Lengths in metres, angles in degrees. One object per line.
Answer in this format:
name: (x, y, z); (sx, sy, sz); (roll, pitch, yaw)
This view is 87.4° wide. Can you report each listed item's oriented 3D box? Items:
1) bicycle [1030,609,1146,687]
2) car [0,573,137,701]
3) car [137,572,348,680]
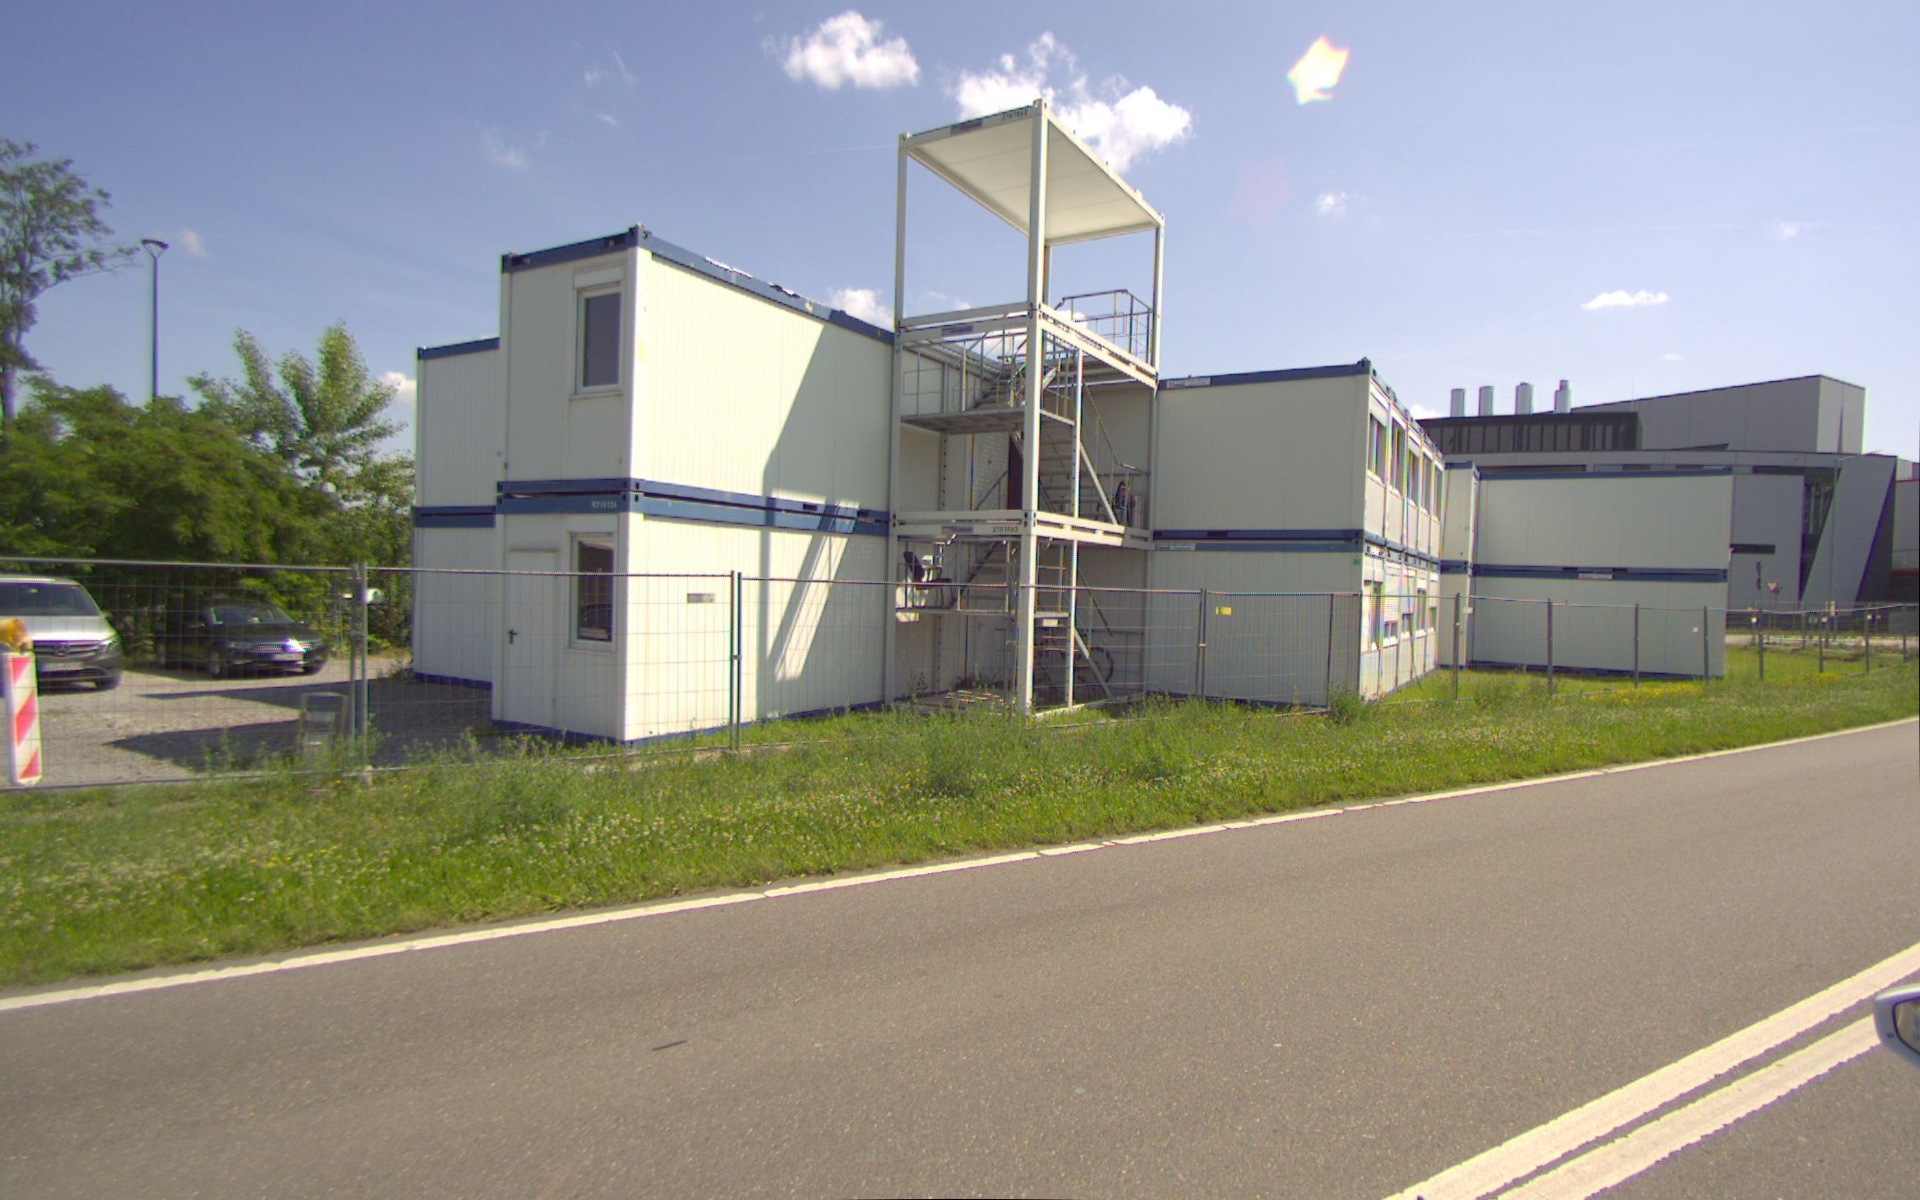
bicycle: (2.318, 0.847, 18.324); (2.010, 1.318, 0.607); (1, 0, 31)
car: (-16.466, 0.519, 17.315); (4.933, 1.892, 1.996); (3, 2, 31)
car: (-14.652, 0.457, 20.470); (4.238, 1.892, 1.996); (3, 2, 31)
